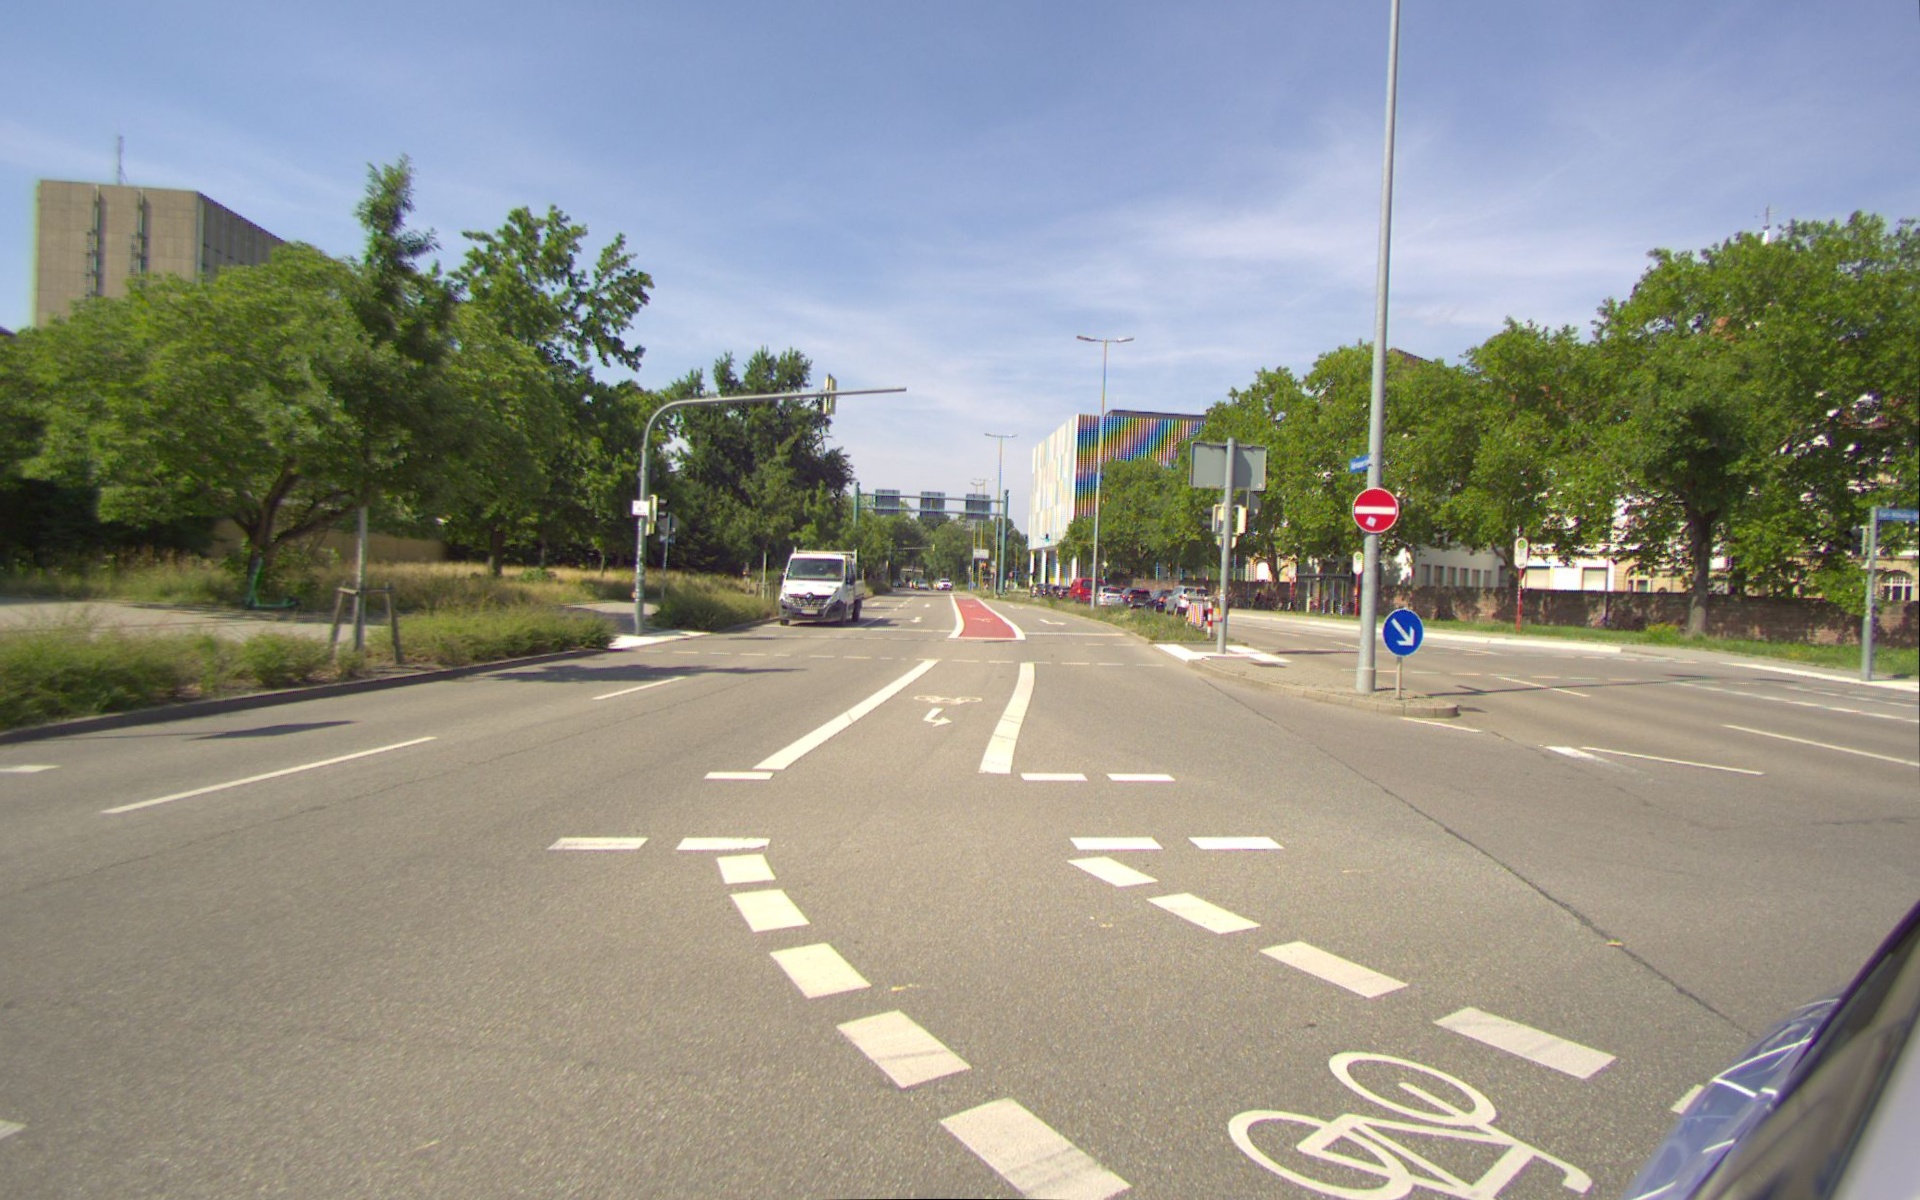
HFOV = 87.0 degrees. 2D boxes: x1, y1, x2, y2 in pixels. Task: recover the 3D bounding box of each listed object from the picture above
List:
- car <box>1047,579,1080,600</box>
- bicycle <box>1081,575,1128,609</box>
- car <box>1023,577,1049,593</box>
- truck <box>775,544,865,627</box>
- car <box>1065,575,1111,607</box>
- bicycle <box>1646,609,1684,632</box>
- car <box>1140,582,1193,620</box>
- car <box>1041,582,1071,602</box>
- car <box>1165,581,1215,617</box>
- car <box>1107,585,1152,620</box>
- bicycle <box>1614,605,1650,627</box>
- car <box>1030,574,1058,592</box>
[{"bbox_3d":[7.712,-0.813,75.844,1.764,1.529,4.004,0,1,-4],"label":"car"},{"bbox_3d":[8.352,-0.485,58.774,1.961,1.838,4.003,2,1,-2],"label":"bicycle"},{"bbox_3d":[7.221,-1.432,96.238,1.764,1.529,4.006,0,1,-6],"label":"car"},{"bbox_3d":[-4.390,-0.526,32.989,2.366,2.385,7.054,1,2,-4],"label":"truck"},{"bbox_3d":[8.176,-0.609,64.983,1.940,1.819,4.617,3,1,-5],"label":"car"},{"bbox_3d":[35.180,1.018,50.499,0.439,1.046,1.450,2,1,-30],"label":"bicycle"},{"bbox_3d":[11.613,0.084,57.213,1.961,2.039,4.001,2,-1,-2],"label":"car"},{"bbox_3d":[7.827,-0.671,82.953,1.764,1.529,4.004,0,1,-4],"label":"car"},{"bbox_3d":[11.611,-0.068,51.279,1.680,1.638,4.214,3,1,3],"label":"car"},{"bbox_3d":[10.746,0.190,64.336,1.961,2.039,4.001,2,-1,-2],"label":"car"},{"bbox_3d":[34.407,0.804,51.830,0.439,1.046,1.450,2,1,-30],"label":"bicycle"},{"bbox_3d":[7.472,-1.545,89.938,1.764,1.529,4.006,0,1,-6],"label":"car"}]
